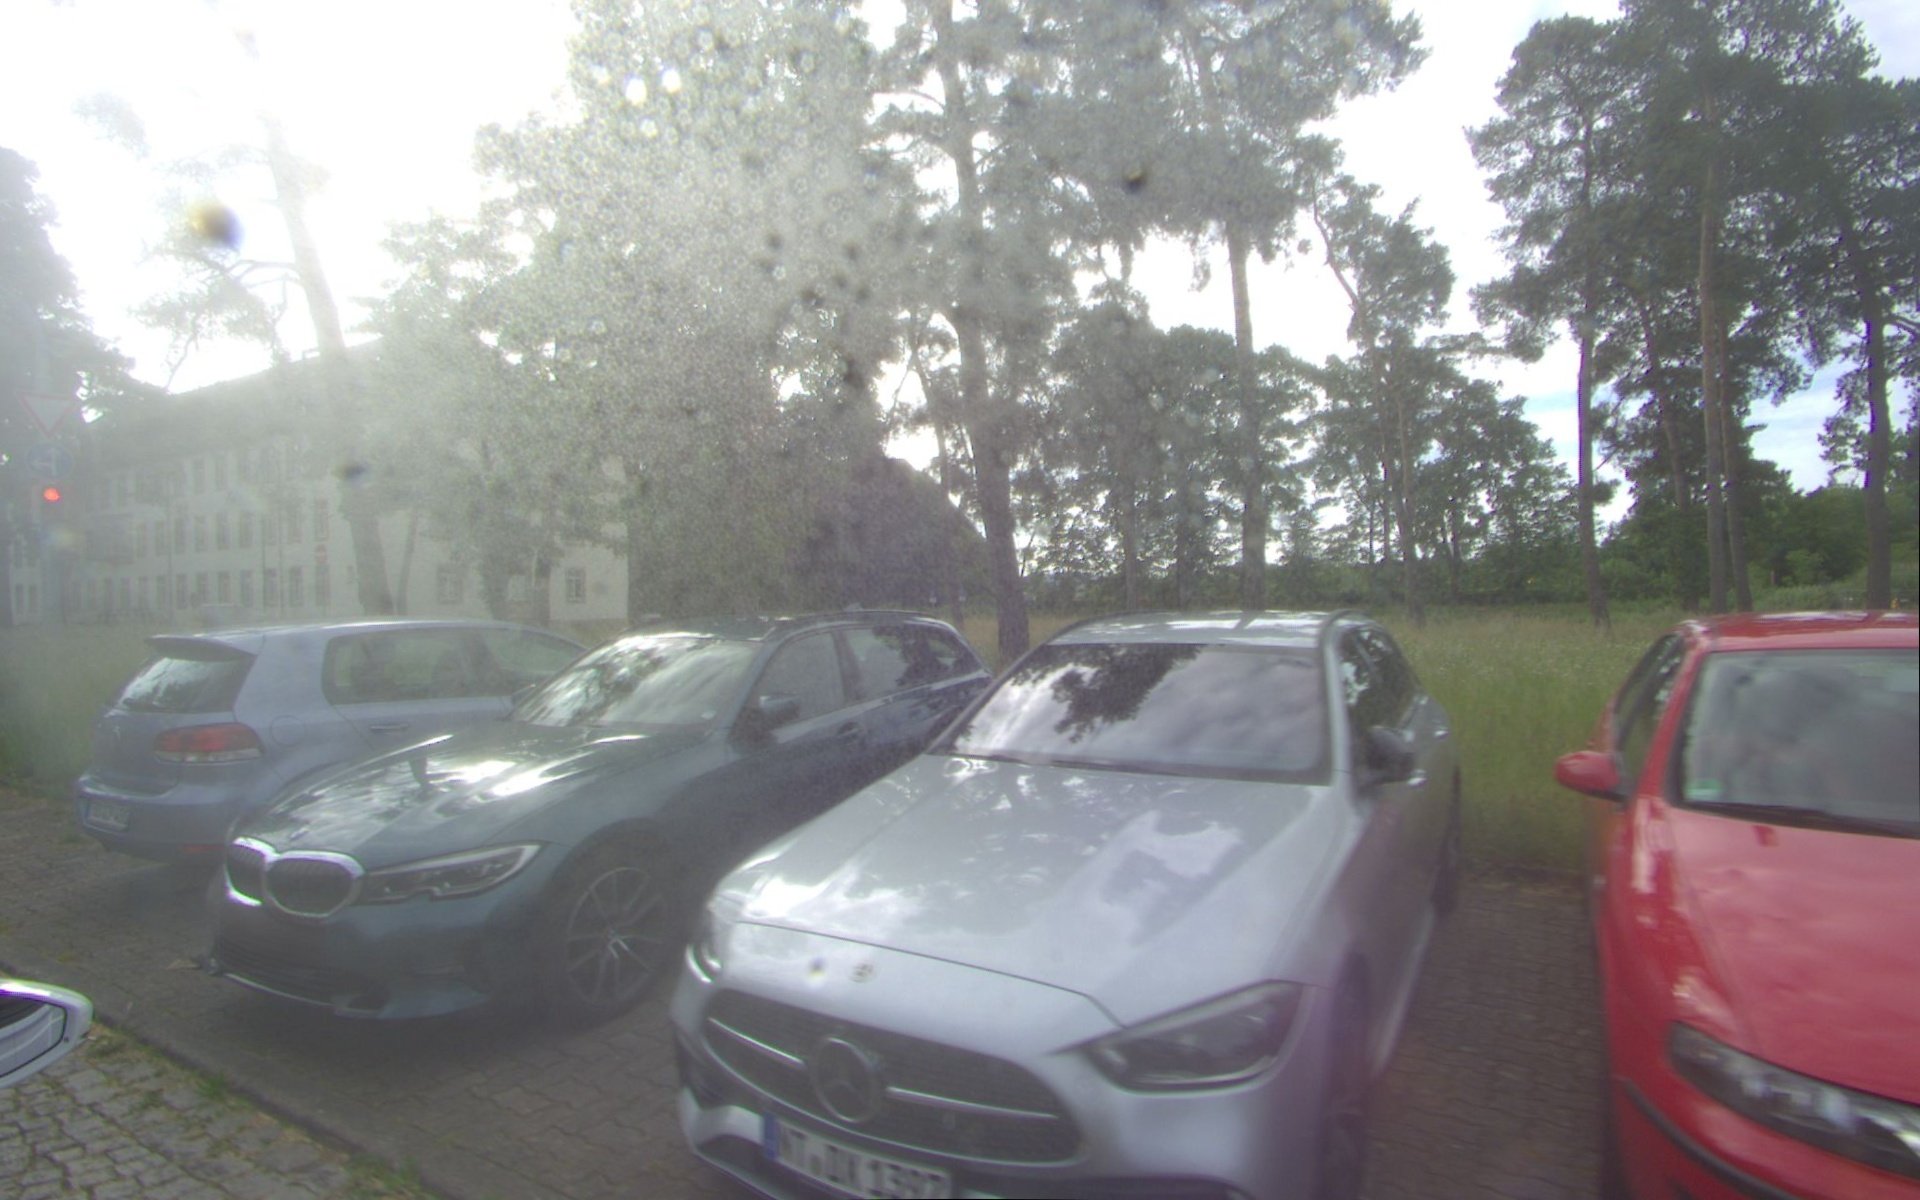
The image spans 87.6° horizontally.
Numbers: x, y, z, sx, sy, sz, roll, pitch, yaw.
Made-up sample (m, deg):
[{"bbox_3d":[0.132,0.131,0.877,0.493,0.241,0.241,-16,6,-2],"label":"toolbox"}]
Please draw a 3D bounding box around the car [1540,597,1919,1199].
[{"bbox_3d":[2.869,0.768,3.057,1.844,1.436,4.253,0,2,31],"label":"car"}]

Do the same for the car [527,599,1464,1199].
[{"bbox_3d":[0.849,0.780,3.871,1.842,1.436,4.415,0,1,28],"label":"car"}]

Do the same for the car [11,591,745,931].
[{"bbox_3d":[-3.451,0.735,6.710,1.619,1.497,3.916,0,2,33],"label":"car"}]

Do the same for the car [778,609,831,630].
[{"bbox_3d":[-11.449,1.445,74.087,1.627,1.439,3.940,-1,-3,34],"label":"car"}]

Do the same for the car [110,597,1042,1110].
[{"bbox_3d":[-1.359,0.767,5.501,1.842,1.436,4.673,0,1,29],"label":"car"}]
